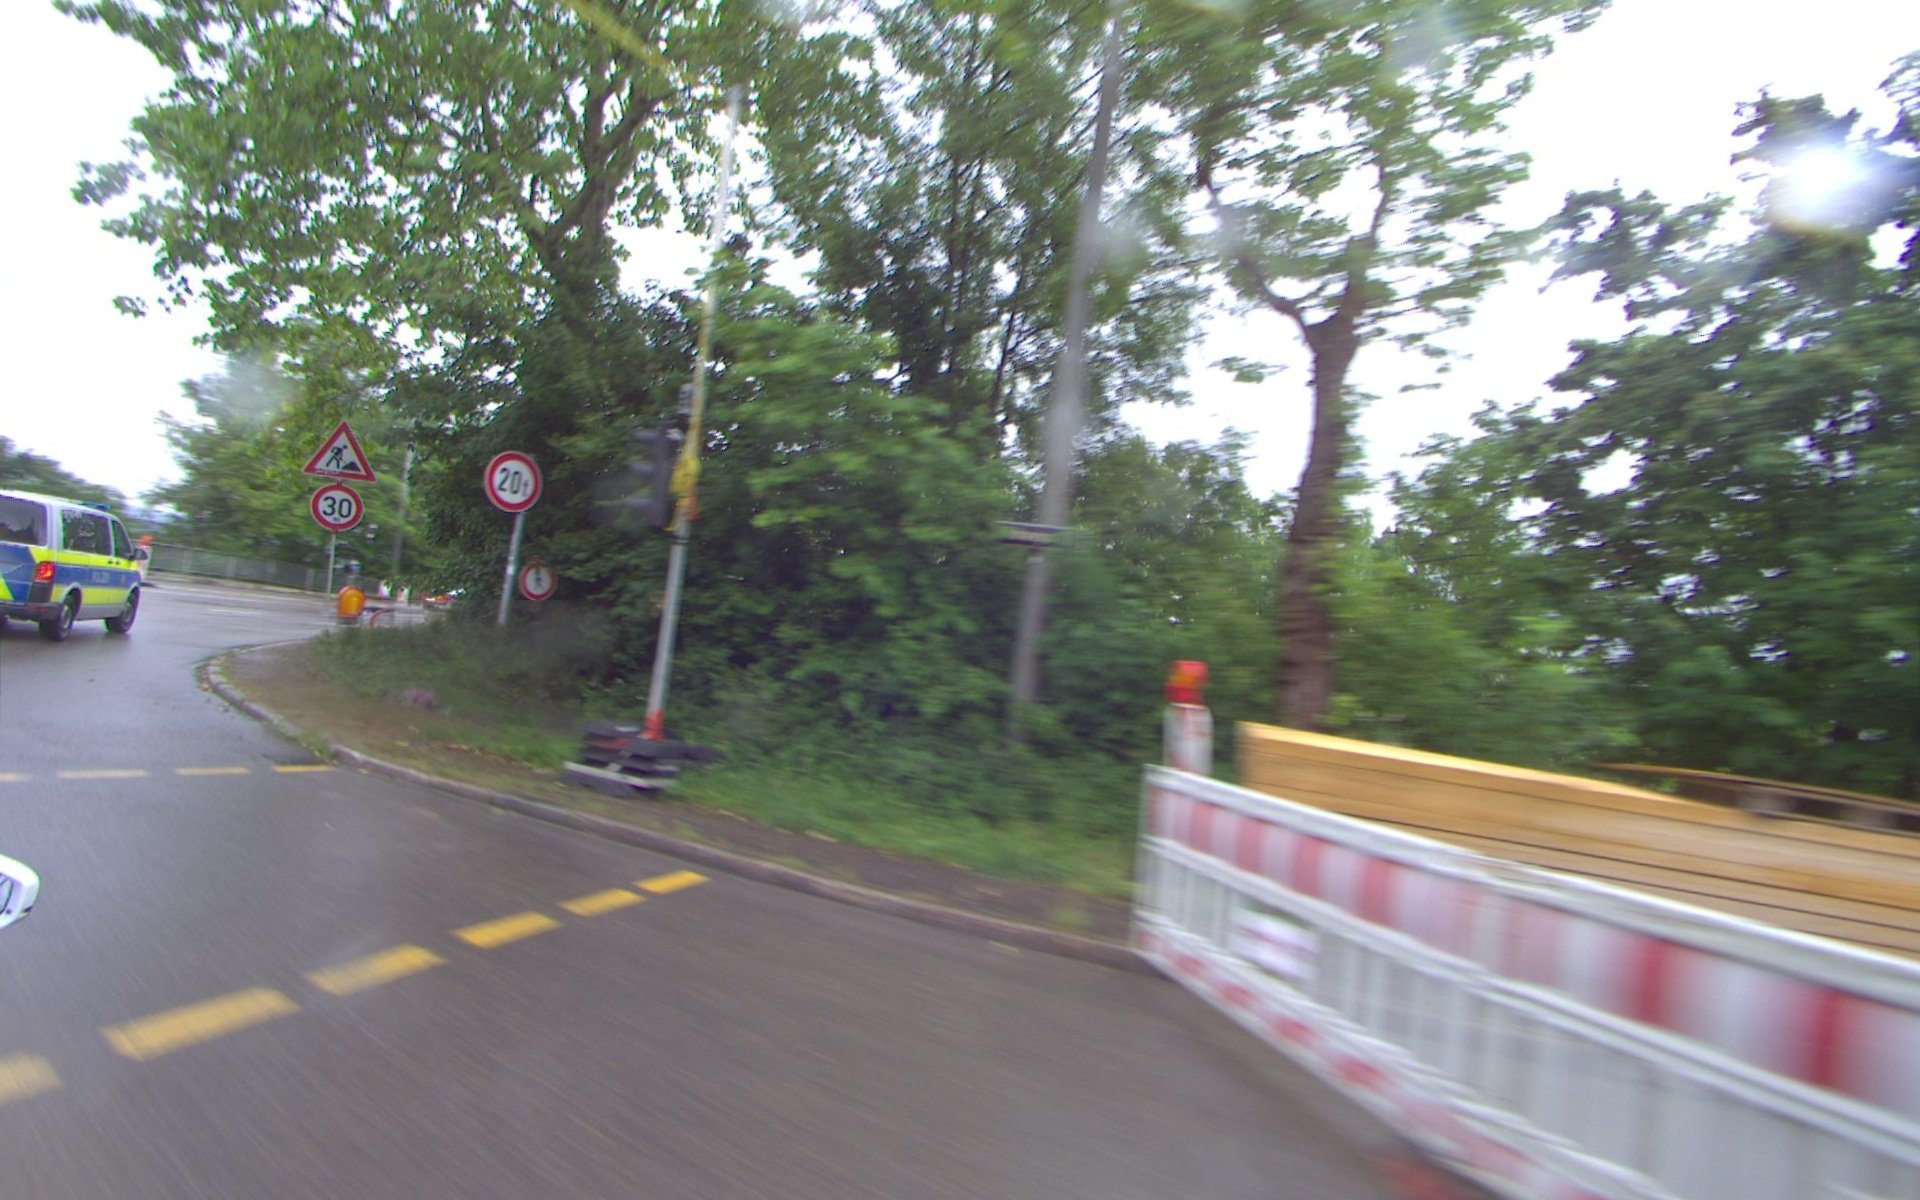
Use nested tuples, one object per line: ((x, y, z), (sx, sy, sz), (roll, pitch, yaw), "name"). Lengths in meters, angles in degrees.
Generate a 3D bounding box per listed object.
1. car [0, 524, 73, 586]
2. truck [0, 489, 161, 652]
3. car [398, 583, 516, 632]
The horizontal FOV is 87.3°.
((-25.747, -1.386, 26.040), (1.660, 1.412, 4.144), (8, -4, 2), "car")
((-13.937, -0.480, 15.022), (1.979, 2.034, 4.706), (10, -5, -27), "truck")
((-22.537, 0.374, 45.227), (1.931, 1.455, 4.327), (9, -4, 26), "car")
